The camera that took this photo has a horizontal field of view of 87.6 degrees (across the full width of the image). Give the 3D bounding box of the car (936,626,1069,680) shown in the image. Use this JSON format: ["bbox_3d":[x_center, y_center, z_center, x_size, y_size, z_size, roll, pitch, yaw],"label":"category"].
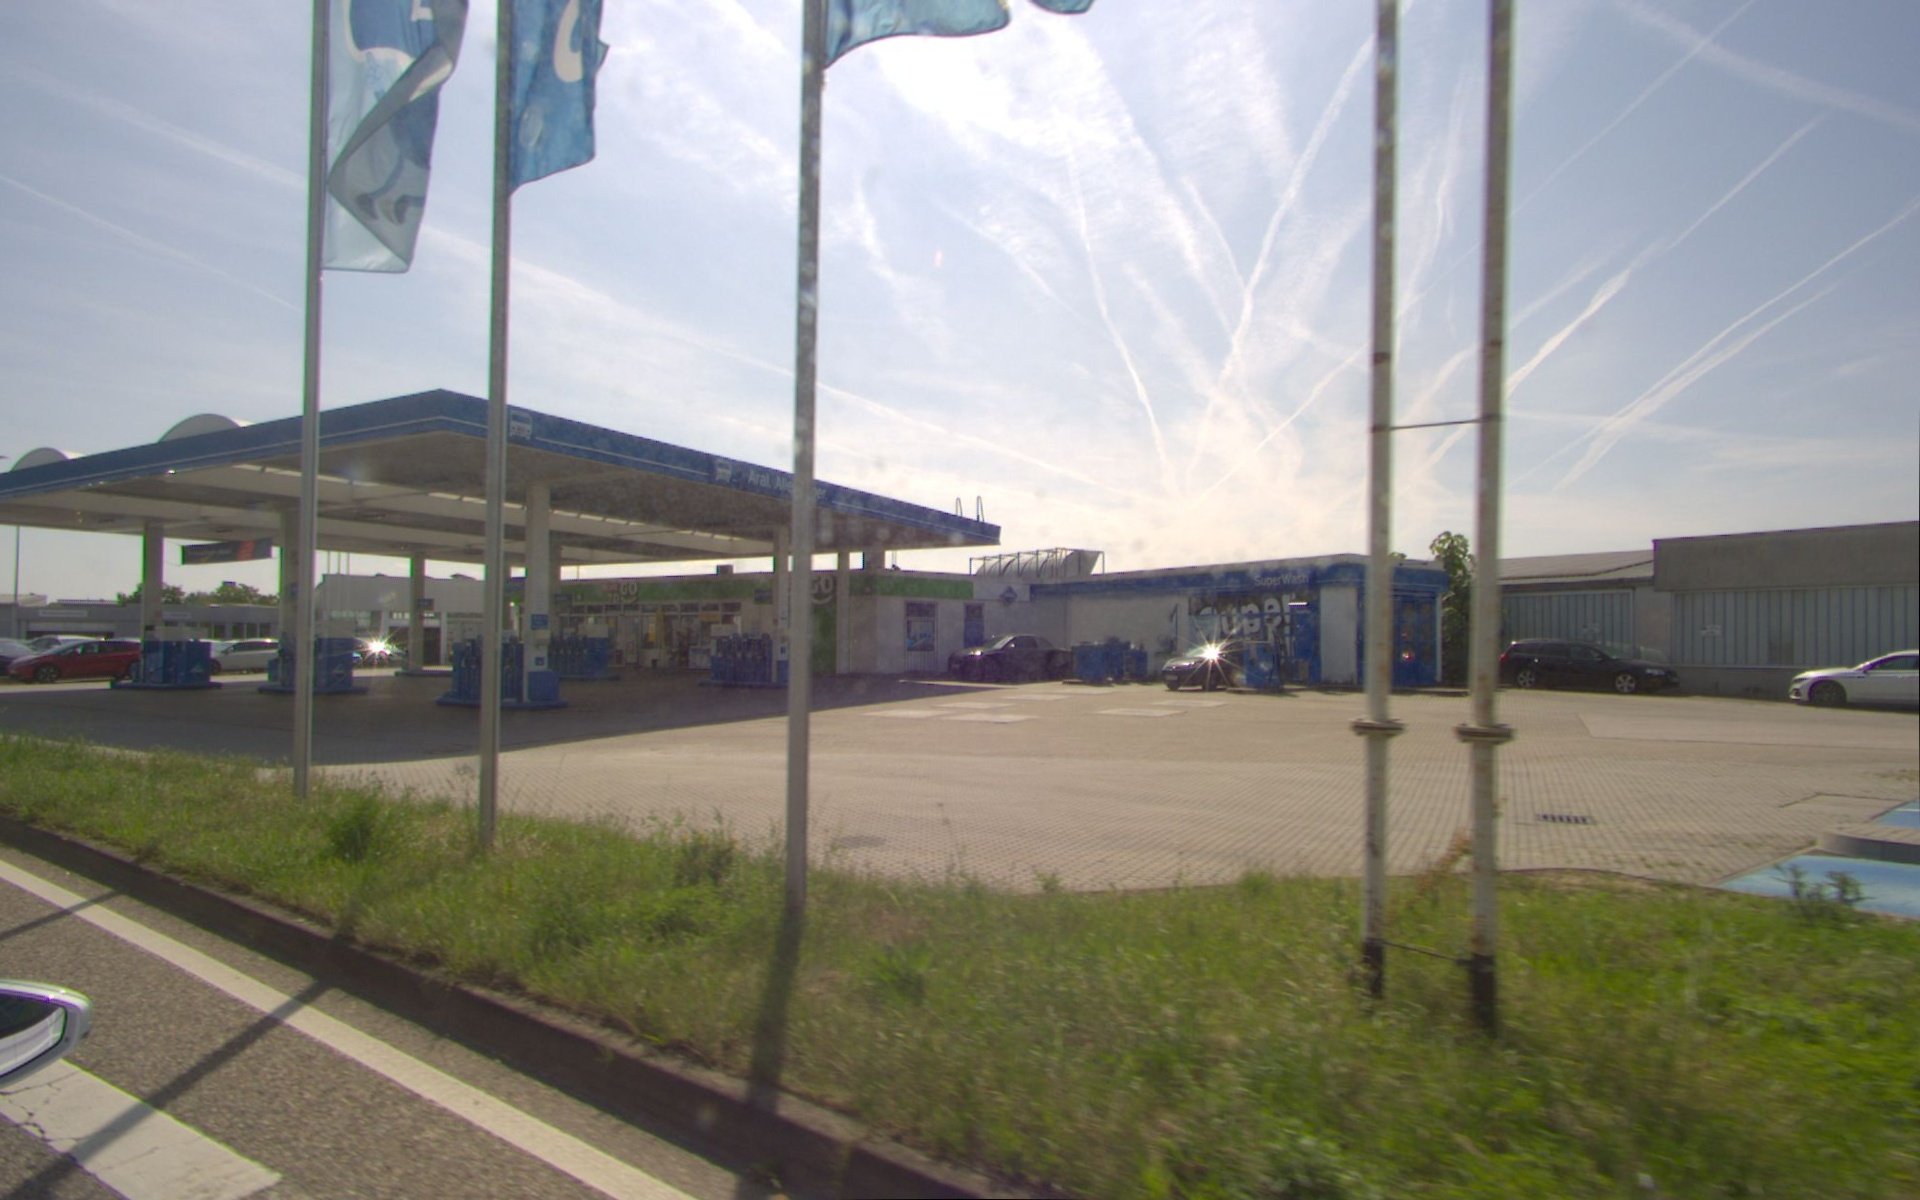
[{"bbox_3d":[1.606,2.000,36.953,4.673,1.848,1.893,4,-4,-33],"label":"car"}]

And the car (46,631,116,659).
[{"bbox_3d":[-48.048,2.455,54.719,3.536,1.428,1.558,-1,0,24],"label":"car"}]

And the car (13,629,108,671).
[{"bbox_3d":[-37.625,2.056,41.880,3.797,1.616,1.558,-1,0,24],"label":"car"}]

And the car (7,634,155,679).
[{"bbox_3d":[-33.412,2.099,38.178,1.779,1.592,3.901,0,-1,28],"label":"car"}]

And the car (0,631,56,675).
[{"bbox_3d":[-37.456,2.036,39.249,3.797,1.616,1.614,-1,0,24],"label":"car"}]

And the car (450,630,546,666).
[{"bbox_3d":[-22.329,2.286,48.554,1.727,1.658,3.985,0,-2,28],"label":"car"}]

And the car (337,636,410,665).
[{"bbox_3d":[-30.832,2.618,52.647,3.536,1.428,1.558,-1,0,24],"label":"car"}]

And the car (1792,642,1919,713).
[{"bbox_3d":[22.901,1.828,23.810,1.867,1.625,4.499,1,-2,-36],"label":"car"}]

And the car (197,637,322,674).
[{"bbox_3d":[-30.623,2.405,43.913,1.538,1.513,4.331,0,-2,24],"label":"car"}]

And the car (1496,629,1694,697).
[{"bbox_3d":[18.708,1.782,29.690,1.868,1.849,4.620,1,-2,-38],"label":"car"}]

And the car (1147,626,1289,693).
[{"bbox_3d":[7.744,1.732,29.967,4.116,1.849,1.879,1,-2,-33],"label":"car"}]

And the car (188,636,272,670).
[{"bbox_3d":[-33.586,2.412,46.053,3.536,1.428,1.558,-1,0,24],"label":"car"}]
